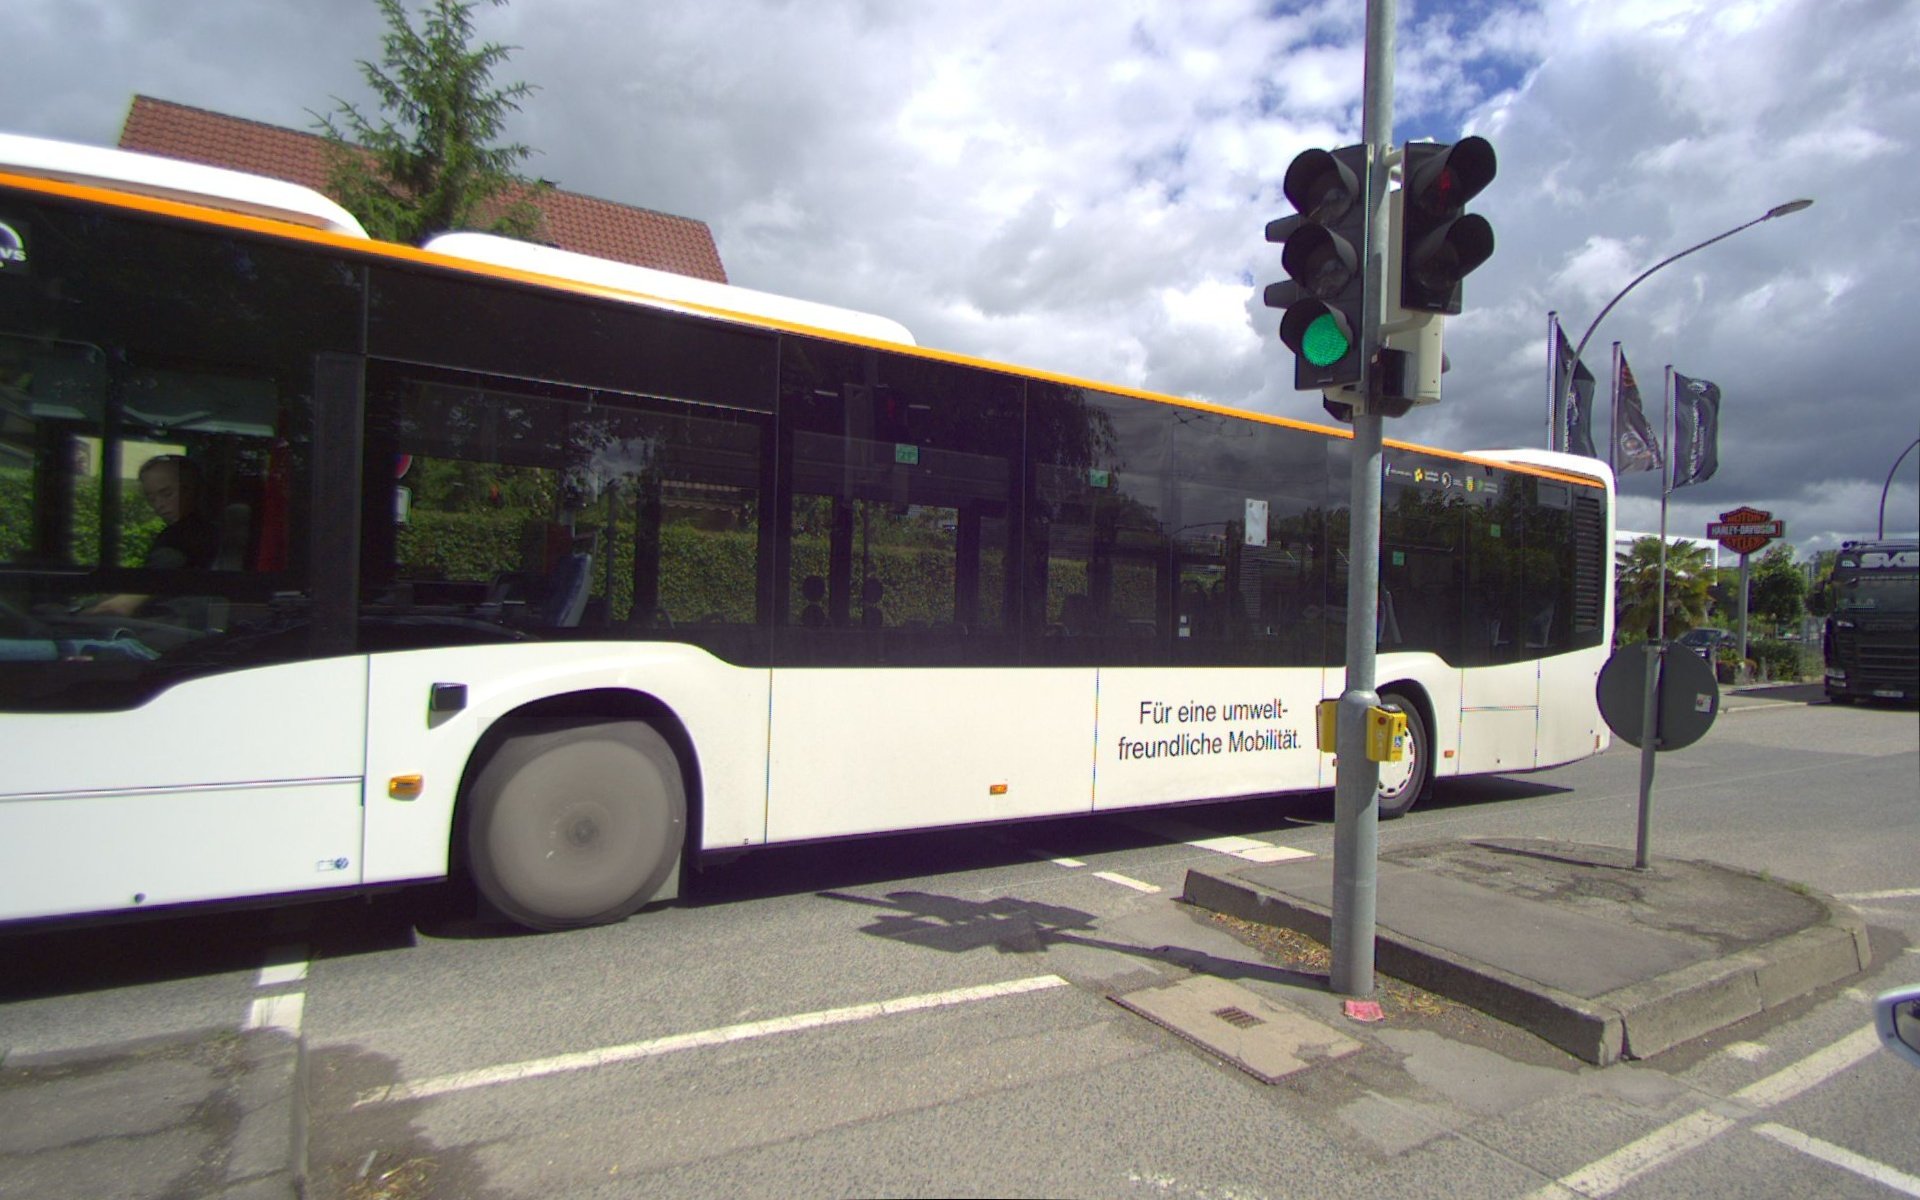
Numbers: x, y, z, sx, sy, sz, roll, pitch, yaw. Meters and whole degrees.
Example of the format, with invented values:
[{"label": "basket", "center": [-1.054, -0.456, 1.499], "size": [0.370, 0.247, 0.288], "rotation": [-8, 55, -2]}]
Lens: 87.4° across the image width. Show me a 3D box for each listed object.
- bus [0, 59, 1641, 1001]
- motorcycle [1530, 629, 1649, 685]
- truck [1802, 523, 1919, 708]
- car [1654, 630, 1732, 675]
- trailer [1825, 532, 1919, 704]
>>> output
[{"label": "bus", "center": [0.477, -0.020, 7.201], "size": [12.133, 3.071, 2.703], "rotation": [3, -1, -33]}, {"label": "motorcycle", "center": [16.780, 1.501, 26.851], "size": [0.839, 1.323, 2.550], "rotation": [2, 0, -31]}, {"label": "truck", "center": [23.483, 0.451, 24.777], "size": [6.444, 4.107, 2.777], "rotation": [3, 0, -38]}, {"label": "car", "center": [23.714, 1.706, 32.485], "size": [2.656, 1.382, 1.039], "rotation": [3, 0, -31]}, {"label": "trailer", "center": [28.763, 0.695, 28.943], "size": [15.419, 4.107, 2.777], "rotation": [3, 0, -38]}]
